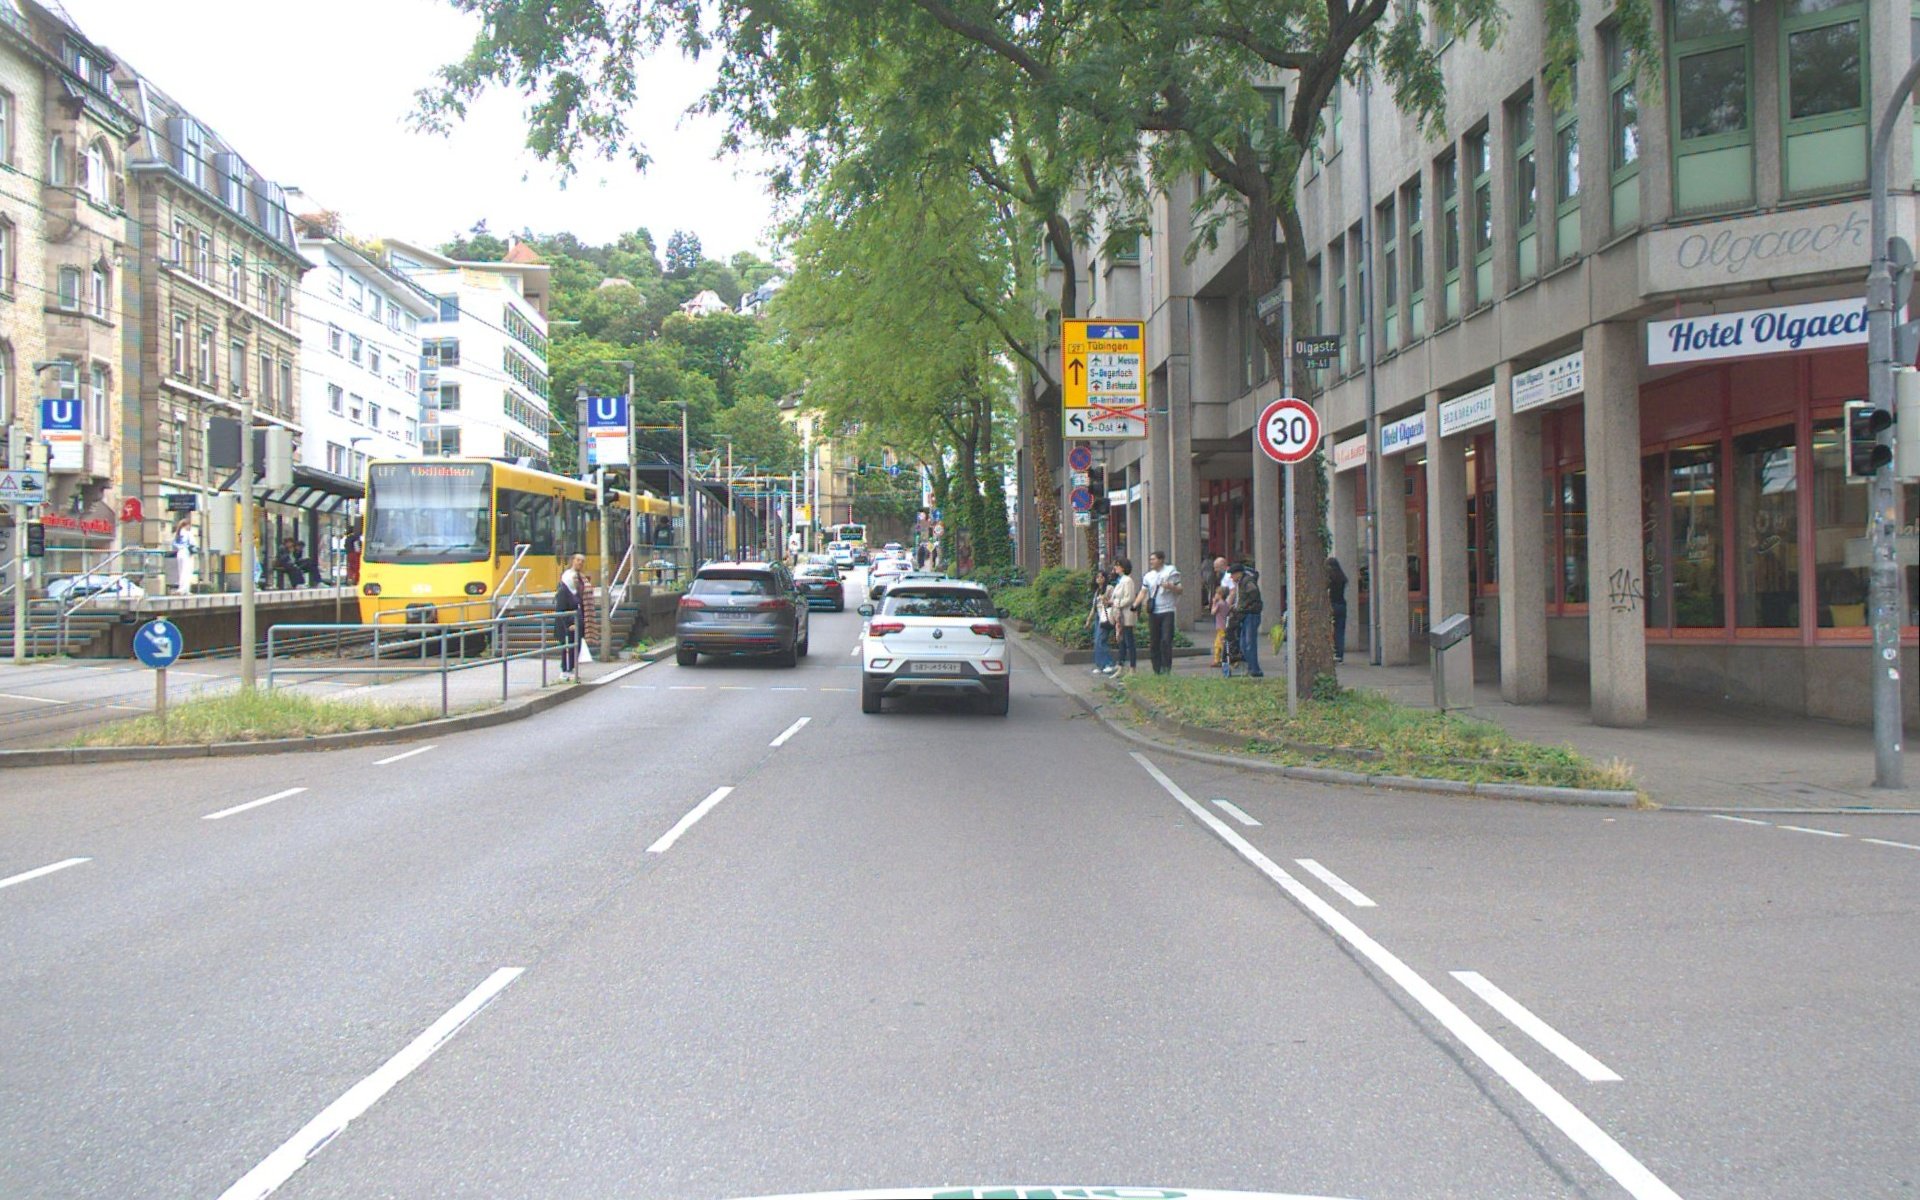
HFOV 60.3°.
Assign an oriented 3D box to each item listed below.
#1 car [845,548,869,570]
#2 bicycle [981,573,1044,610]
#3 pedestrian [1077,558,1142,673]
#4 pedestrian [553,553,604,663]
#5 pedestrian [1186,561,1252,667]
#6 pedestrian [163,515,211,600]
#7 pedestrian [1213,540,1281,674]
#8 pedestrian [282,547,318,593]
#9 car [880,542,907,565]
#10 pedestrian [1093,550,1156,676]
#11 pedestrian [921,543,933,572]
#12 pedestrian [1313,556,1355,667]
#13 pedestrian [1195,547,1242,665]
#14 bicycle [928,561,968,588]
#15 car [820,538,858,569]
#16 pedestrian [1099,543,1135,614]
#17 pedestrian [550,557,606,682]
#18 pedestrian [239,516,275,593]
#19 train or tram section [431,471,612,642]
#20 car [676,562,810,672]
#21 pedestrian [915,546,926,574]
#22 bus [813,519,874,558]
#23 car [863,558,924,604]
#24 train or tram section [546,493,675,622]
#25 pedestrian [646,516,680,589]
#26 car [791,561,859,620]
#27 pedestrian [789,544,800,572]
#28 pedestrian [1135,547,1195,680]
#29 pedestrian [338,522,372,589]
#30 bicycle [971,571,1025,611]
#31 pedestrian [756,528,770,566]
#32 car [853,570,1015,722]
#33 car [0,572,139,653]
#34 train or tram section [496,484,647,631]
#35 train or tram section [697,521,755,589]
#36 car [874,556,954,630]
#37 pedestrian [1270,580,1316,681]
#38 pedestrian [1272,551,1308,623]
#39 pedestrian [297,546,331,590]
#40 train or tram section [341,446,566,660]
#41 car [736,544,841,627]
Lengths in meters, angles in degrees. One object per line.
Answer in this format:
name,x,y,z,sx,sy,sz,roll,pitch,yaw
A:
car,-8.303,-3.303,133.545,1.847,1.713,4.159,1,0,-3
bicycle,1.632,-0.274,51.861,1.879,1.095,0.612,-2,1,-6
pedestrian,2.335,0.230,25.889,0.820,1.733,0.763,-2,1,-7
pedestrian,-6.079,0.120,26.382,0.672,1.741,0.711,0,1,-3
pedestrian,3.977,0.213,25.454,0.820,1.590,0.763,1,0,-7
pedestrian,-15.861,-0.870,33.960,0.674,1.741,0.661,0,1,-4
pedestrian,4.091,0.085,23.627,0.707,1.834,0.833,-2,3,-7
pedestrian,-16.439,-0.750,41.190,0.622,1.127,0.690,0,1,-3
car,-5.441,-3.788,134.577,1.849,1.713,4.154,1,0,-7
pedestrian,2.453,0.190,24.763,0.680,1.808,0.688,-5,1,-7
pedestrian,-2.329,-2.965,115.495,0.746,2.049,0.838,1,0,2
pedestrian,5.732,0.164,25.382,0.603,1.640,0.765,-1,3,12
pedestrian,4.062,0.091,26.025,0.508,1.820,0.763,1,0,-7
bicycle,-0.597,-1.259,82.516,1.841,1.288,0.765,1,0,8
car,-8.800,-3.370,120.953,2.316,2.049,5.148,1,0,0
pedestrian,4.121,-0.581,43.488,0.748,1.813,0.847,-2,3,-8
pedestrian,-5.396,0.264,23.396,0.622,1.741,0.871,0,1,-3
pedestrian,-16.135,-1.046,37.986,0.624,1.741,0.688,0,1,-12
train or tram section,-9.898,-0.966,37.943,2.778,3.582,5.749,1,1,-2
car,-3.555,0.223,27.788,1.954,1.664,3.998,0,2,-4
pedestrian,-2.960,-3.001,122.848,0.746,2.049,0.838,1,0,2
bus,-10.889,-5.597,153.024,3.315,3.118,13.274,1,0,-14
car,-2.625,-0.717,64.287,1.850,1.713,4.152,1,0,-9
train or tram section,-10.341,-1.239,49.467,2.778,3.582,5.749,1,1,-2
pedestrian,-7.329,-1.160,40.776,0.703,1.761,0.670,1,0,-2
car,-4.236,-0.325,52.443,1.873,1.718,4.000,1,2,-1
pedestrian,-12.320,-3.128,123.209,0.746,2.049,0.838,1,0,-3
pedestrian,2.978,0.196,24.095,0.720,1.907,0.732,0,0,-7
pedestrian,-16.164,-1.181,44.208,0.614,1.793,0.846,0,0,-2
bicycle,1.158,-0.267,50.614,1.587,1.147,0.613,-2,1,1
pedestrian,-10.989,-2.955,92.222,0.748,2.049,0.836,1,0,-10
car,-0.244,0.482,20.758,1.799,1.611,4.158,1,2,1
car,-19.169,0.238,34.755,1.869,1.601,3.999,1,0,-1
train or tram section,-10.131,-1.096,43.691,2.778,3.582,5.749,1,1,-2
train or tram section,-13.348,-2.563,94.913,2.757,3.730,6.747,1,1,-4
car,-1.189,-0.175,41.250,1.847,1.713,4.158,1,0,-3
pedestrian,4.574,0.414,22.710,0.462,1.357,0.519,1,0,-7
pedestrian,8.205,-0.309,41.158,0.746,1.753,0.676,1,-2,-1
pedestrian,-16.670,-0.837,42.696,0.622,1.127,0.690,0,1,-3
train or tram section,-9.659,-0.881,32.184,2.778,3.743,5.749,1,1,-2
car,-4.487,-0.362,44.142,2.317,2.049,5.147,1,0,-1
